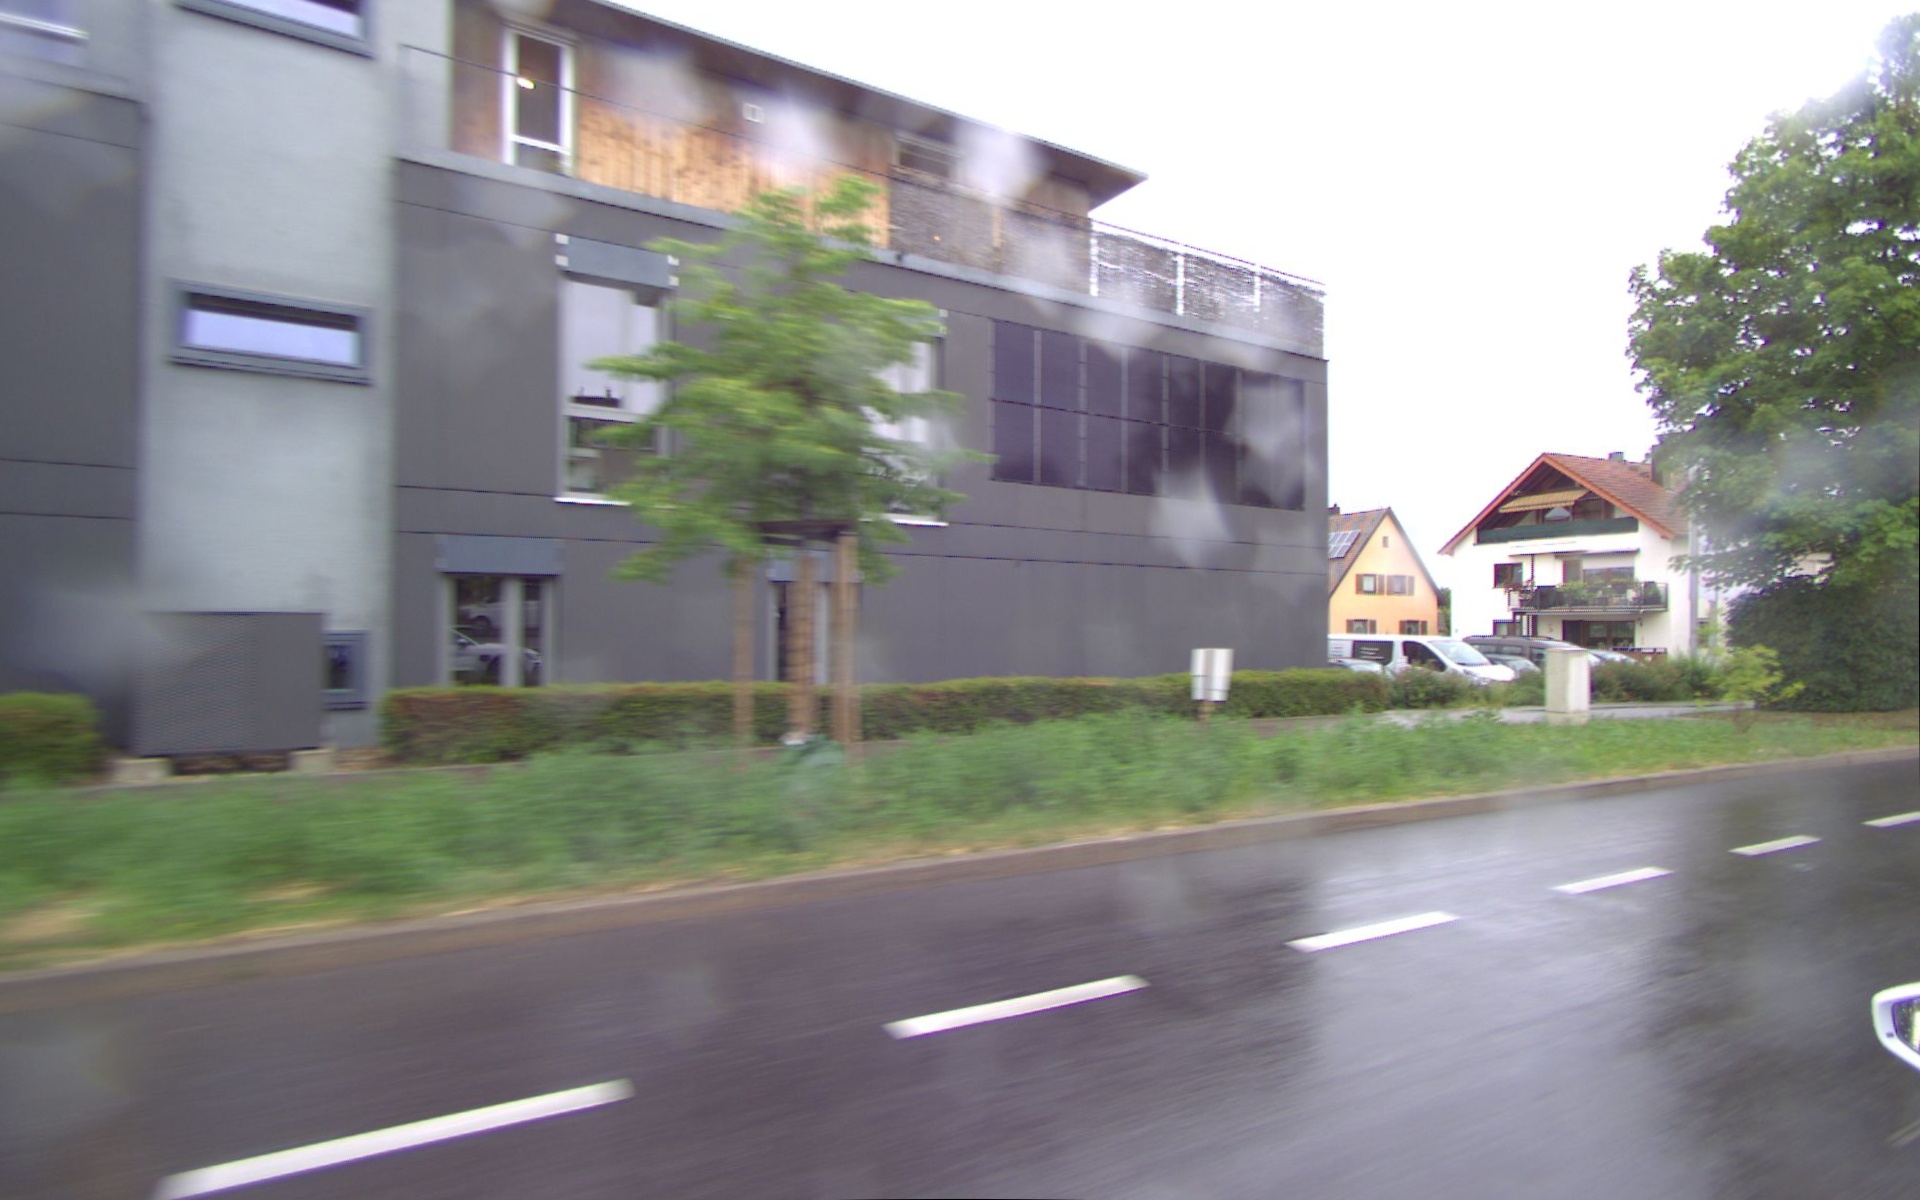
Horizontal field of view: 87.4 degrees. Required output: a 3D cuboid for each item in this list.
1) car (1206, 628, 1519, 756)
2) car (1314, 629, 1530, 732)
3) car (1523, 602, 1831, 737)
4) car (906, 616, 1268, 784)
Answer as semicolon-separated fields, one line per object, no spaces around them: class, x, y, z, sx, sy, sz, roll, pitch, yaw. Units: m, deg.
car;4.217;0.912;10.881;1.454;1.174;2.896;1;-3;-29
car;11.112;1.836;24.451;2.129;2.041;4.374;-1;1;-31
car;8.813;0.844;12.552;1.238;1.474;2.896;3;-4;-29
car;1.012;0.861;9.893;1.563;1.301;3.883;1;-3;-29
